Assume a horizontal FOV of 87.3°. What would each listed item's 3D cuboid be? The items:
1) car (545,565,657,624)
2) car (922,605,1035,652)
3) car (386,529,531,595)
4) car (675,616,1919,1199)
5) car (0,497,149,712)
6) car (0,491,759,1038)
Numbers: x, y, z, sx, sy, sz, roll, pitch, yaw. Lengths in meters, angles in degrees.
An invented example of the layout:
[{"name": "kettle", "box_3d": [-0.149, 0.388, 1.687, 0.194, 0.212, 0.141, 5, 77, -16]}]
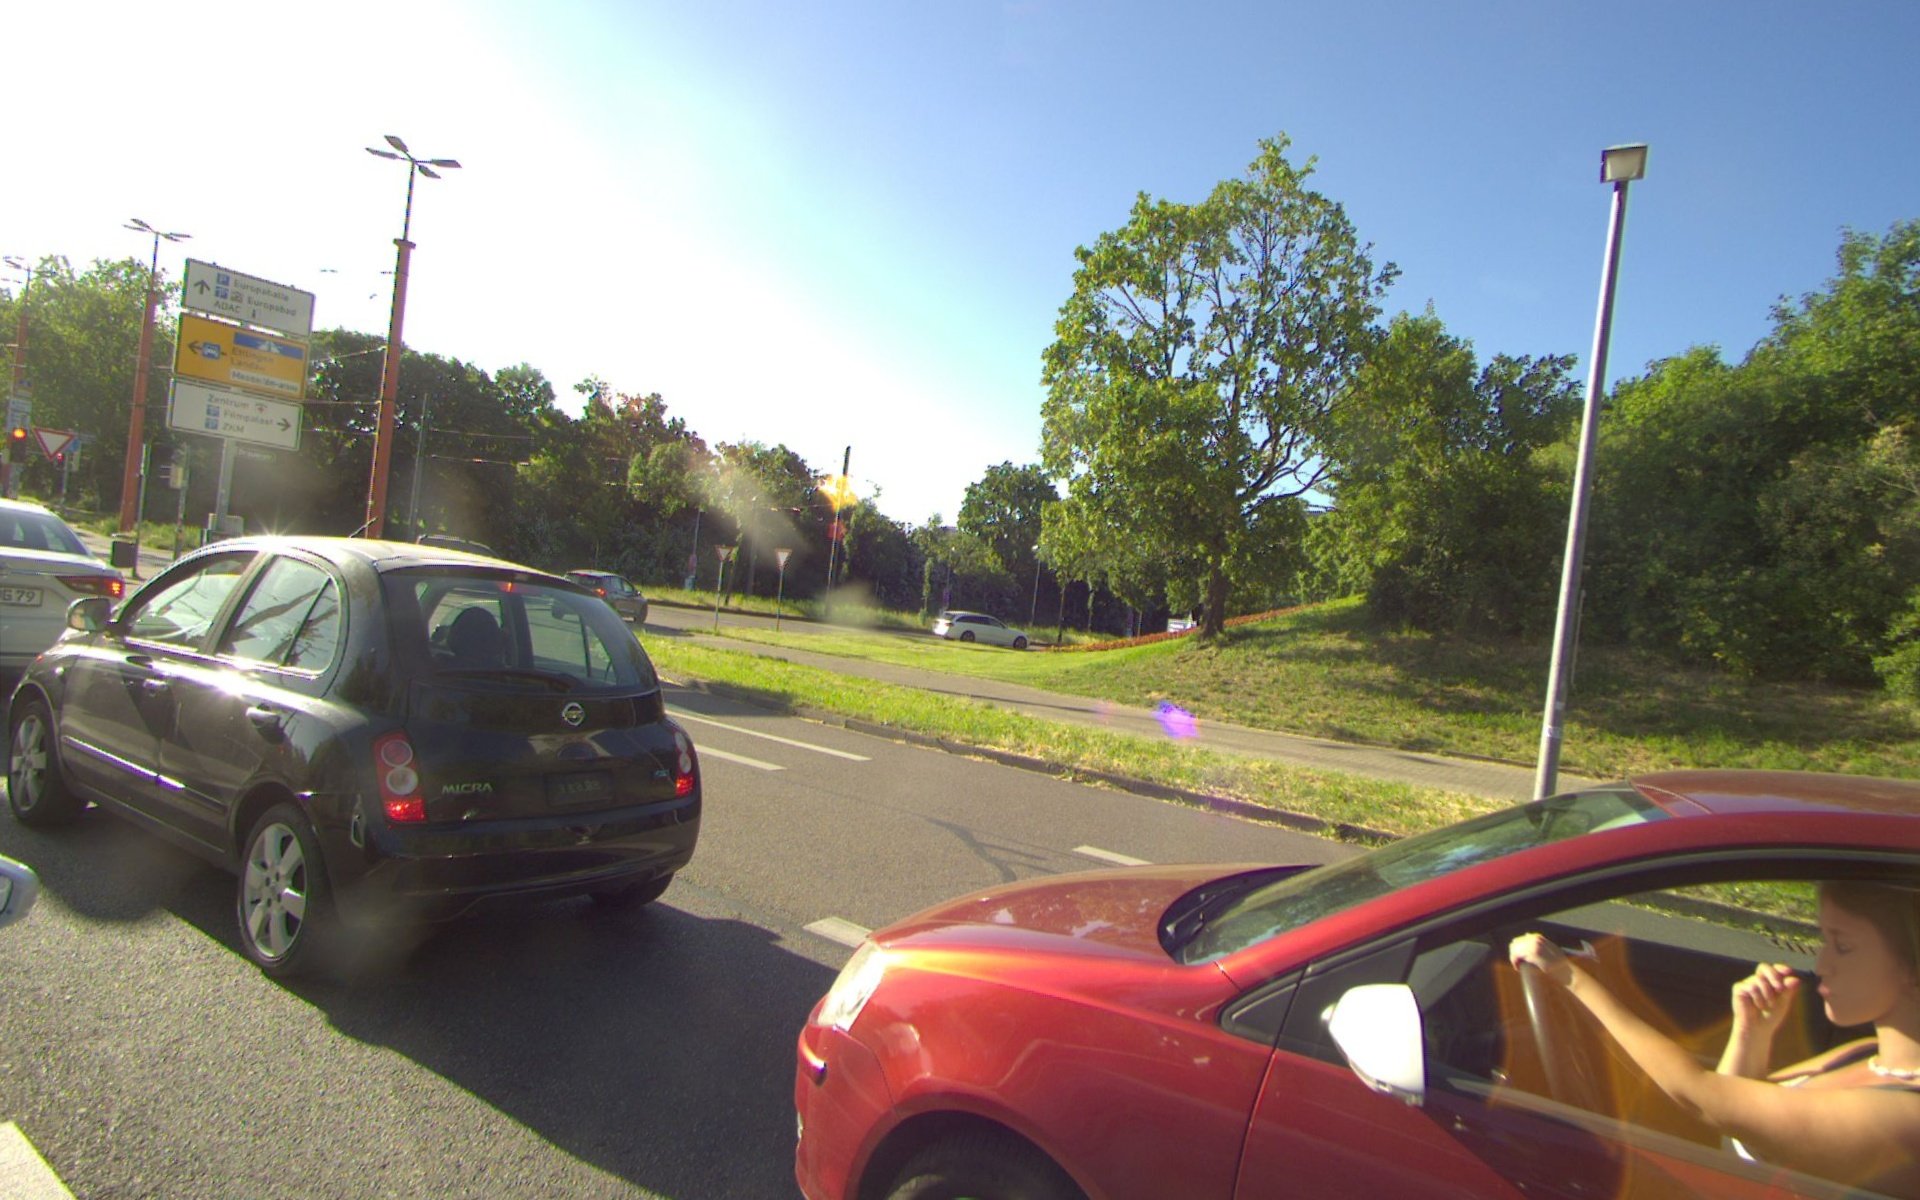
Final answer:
[{"name": "car", "box_3d": [-10.840, -0.116, 30.662, 1.718, 1.486, 3.894, 7, -1, 3]}, {"name": "car", "box_3d": [0.890, 1.339, 47.233, 4.876, 1.594, 1.985, 8, -1, -29]}, {"name": "car", "box_3d": [-19.340, -1.437, 38.903, 4.743, 1.858, 1.900, 8, -1, -29]}, {"name": "car", "box_3d": [1.374, 0.989, 1.891, 3.634, 1.434, 1.624, 7, -1, 34]}, {"name": "car", "box_3d": [-8.343, -0.164, 7.975, 4.077, 1.472, 1.717, 7, -1, 33]}, {"name": "car", "box_3d": [-2.818, 0.463, 4.621, 3.457, 1.524, 1.558, 7, 0, 32]}]
